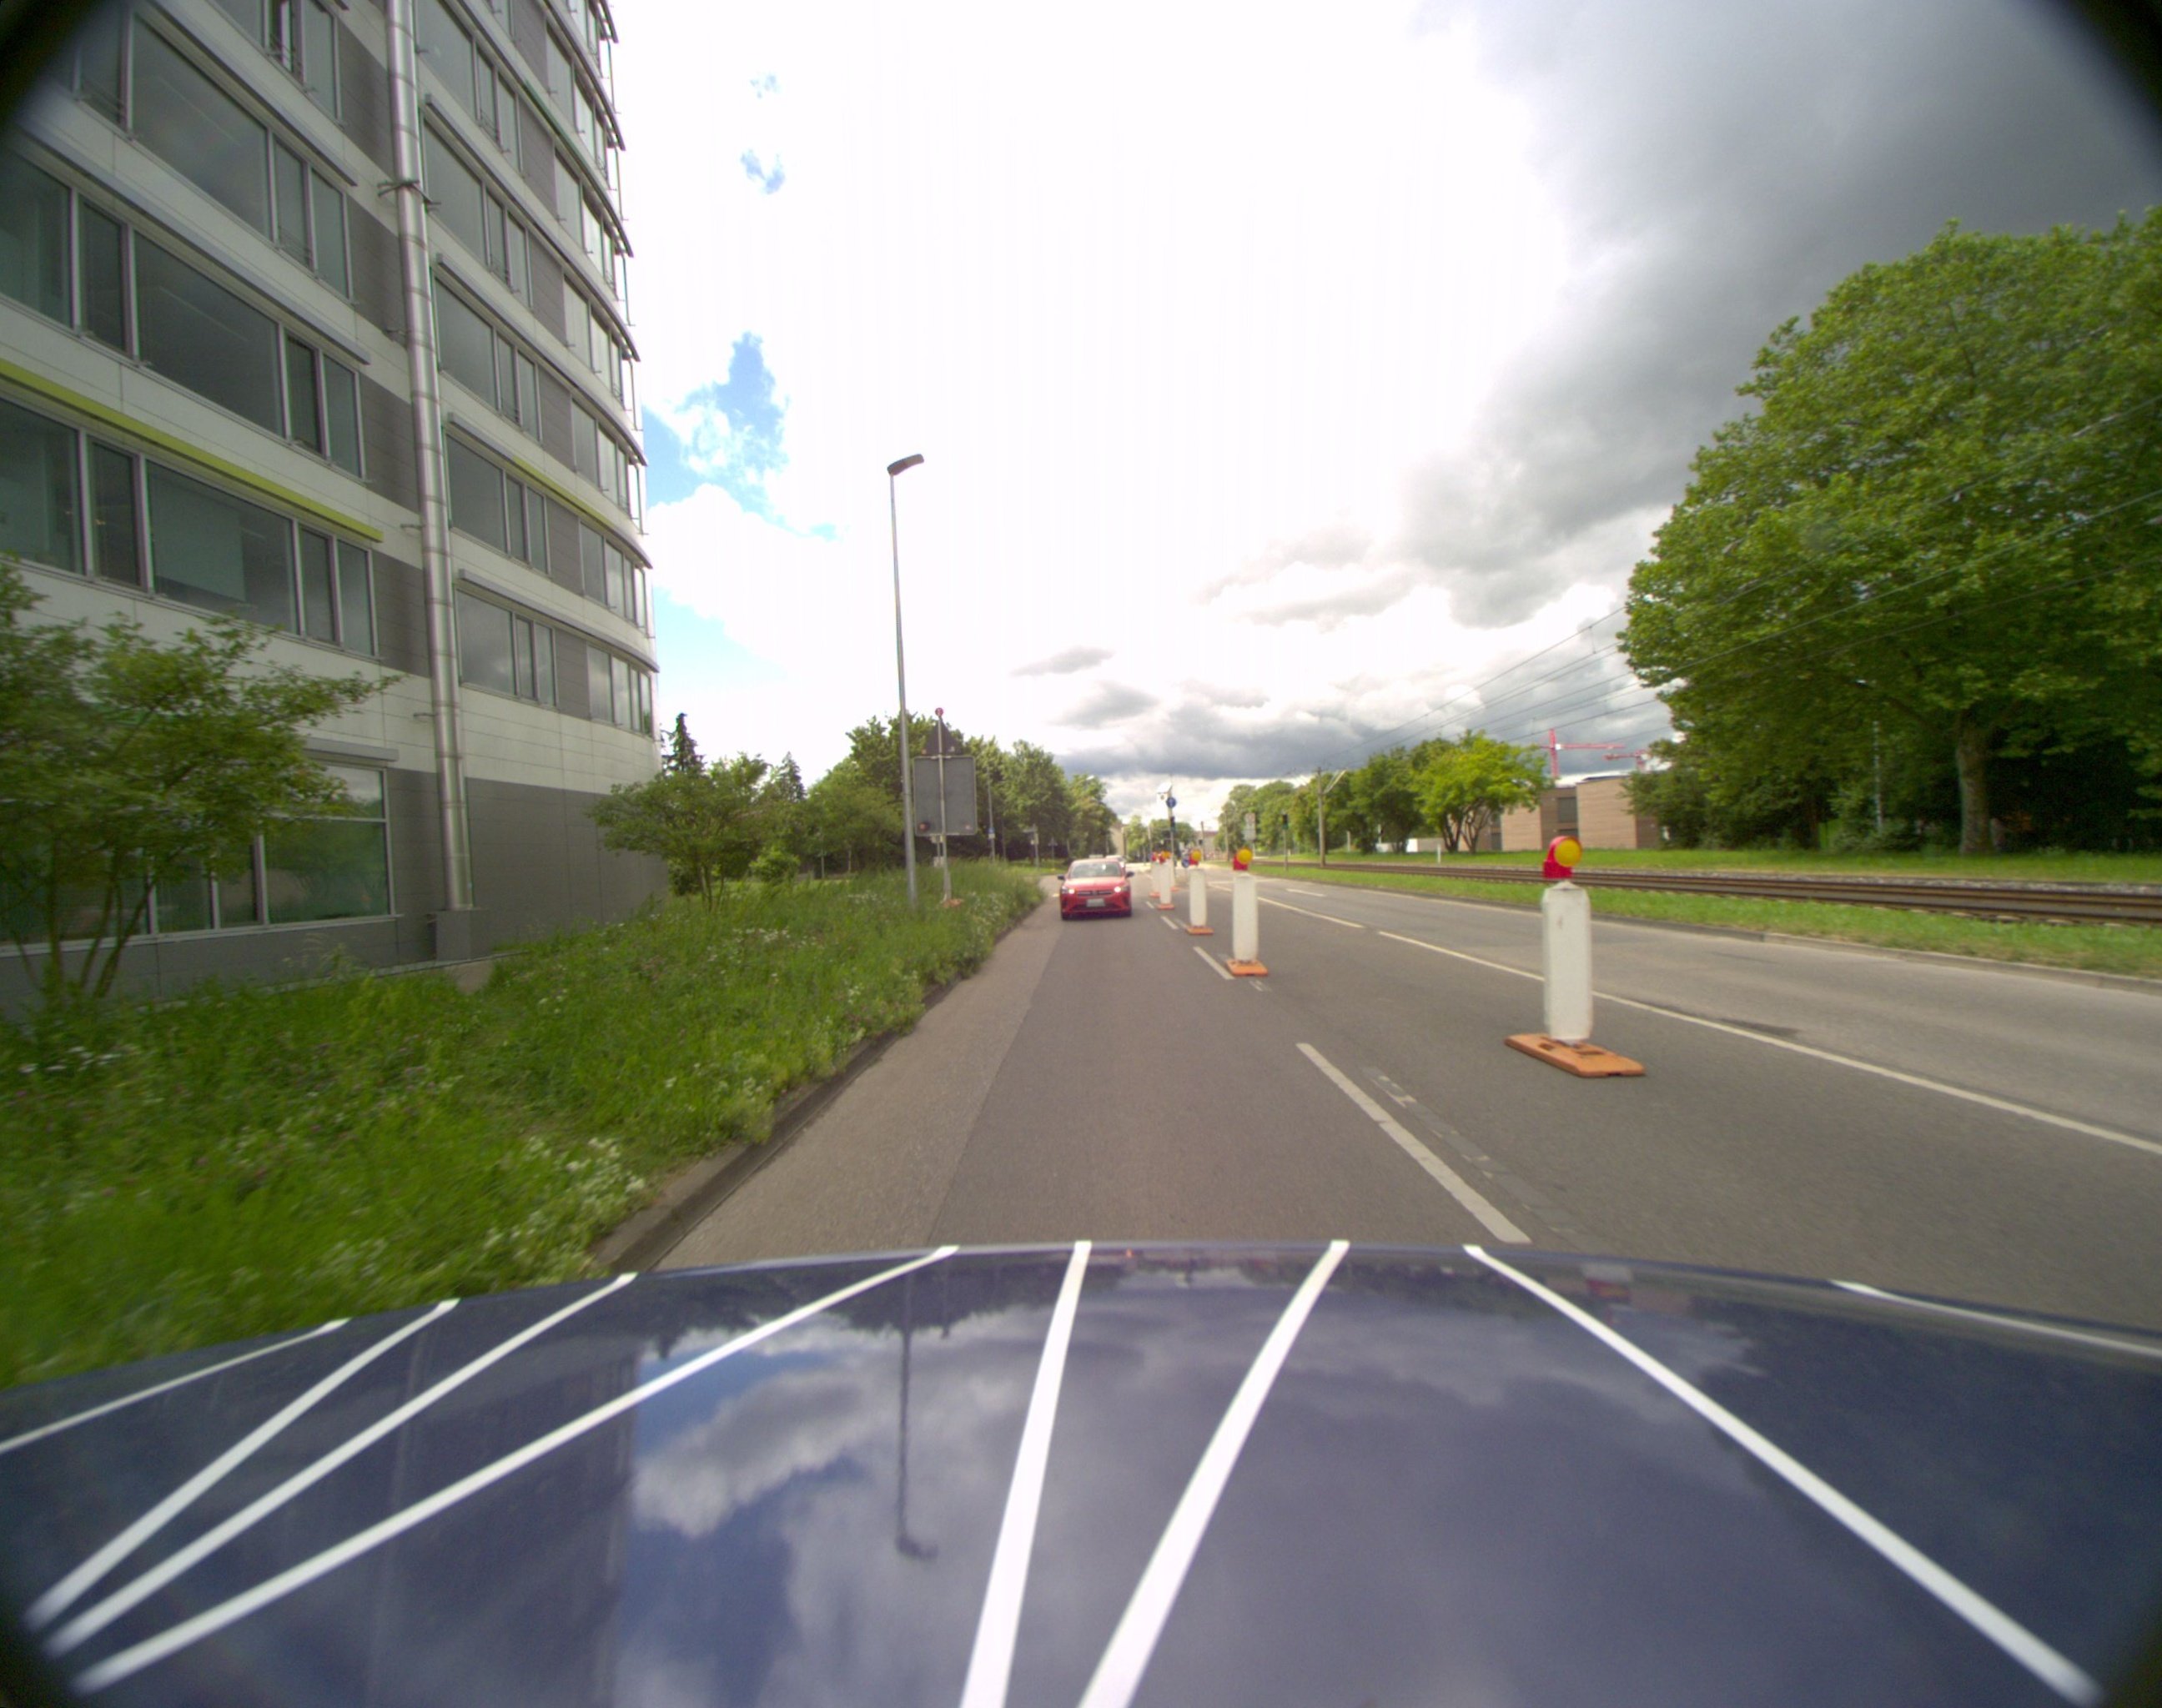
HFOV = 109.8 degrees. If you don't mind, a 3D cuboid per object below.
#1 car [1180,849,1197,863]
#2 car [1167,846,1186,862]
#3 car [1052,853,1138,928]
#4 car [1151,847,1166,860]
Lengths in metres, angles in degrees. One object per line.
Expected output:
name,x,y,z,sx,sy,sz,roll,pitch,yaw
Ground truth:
car,14.690,0.241,104.180,1.998,1.650,4.523,-3,1,5
car,10.967,-0.011,87.684,1.864,1.600,4.610,-1,-2,3
car,0.442,0.792,18.767,1.789,1.453,4.853,-3,1,3
car,11.205,-0.085,110.185,1.733,1.603,4.263,-5,1,1
